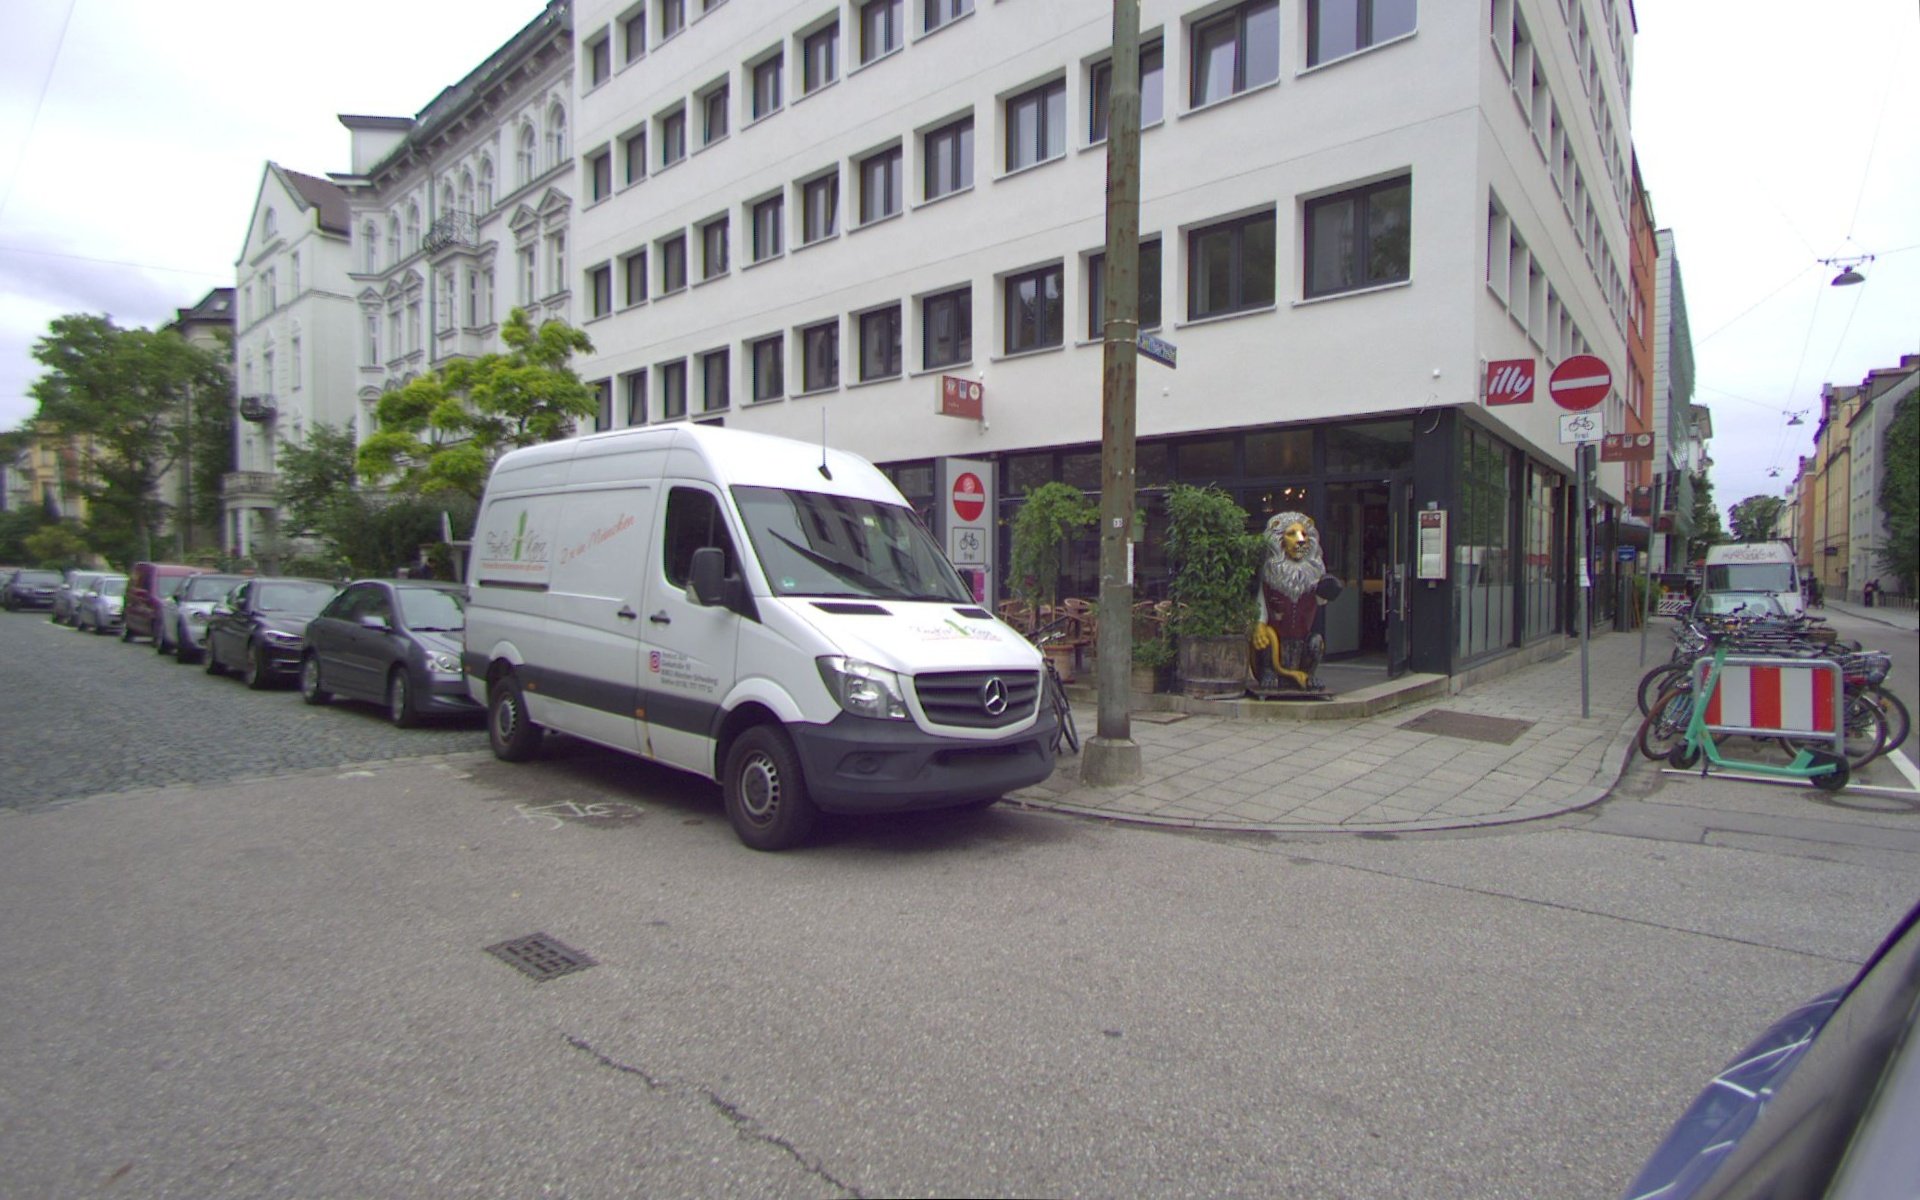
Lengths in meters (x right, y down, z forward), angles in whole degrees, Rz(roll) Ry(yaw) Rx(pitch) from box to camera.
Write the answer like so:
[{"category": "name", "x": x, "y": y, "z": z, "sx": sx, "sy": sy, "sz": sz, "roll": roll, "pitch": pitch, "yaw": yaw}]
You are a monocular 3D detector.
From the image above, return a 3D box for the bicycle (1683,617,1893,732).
[{"category": "bicycle", "x": 8.643, "y": 0.748, "z": 10.641, "sx": 1.669, "sy": 1.093, "sz": 0.332, "roll": 1, "pitch": 0, "yaw": 36}]

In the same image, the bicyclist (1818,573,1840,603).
[{"category": "bicyclist", "x": 52.559, "y": -0.731, "z": 61.219, "sx": 0.925, "sy": 1.742, "sz": 1.084, "roll": 3, "pitch": 2, "yaw": 38}]

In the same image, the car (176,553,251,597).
[{"category": "car", "x": -32.819, "y": -1.084, "z": 44.461, "sx": 3.986, "sy": 1.838, "sz": 1.969, "roll": 1, "pitch": 2, "yaw": 43}]

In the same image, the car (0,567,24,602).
[{"category": "car", "x": -51.615, "y": -0.843, "z": 54.163, "sx": 4.270, "sy": 1.822, "sz": 1.969, "roll": 1, "pitch": 2, "yaw": 44}]

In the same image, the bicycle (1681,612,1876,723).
[{"category": "bicycle", "x": 8.824, "y": 0.697, "z": 10.984, "sx": 1.608, "sy": 1.093, "sz": 0.373, "roll": 1, "pitch": 0, "yaw": 36}]

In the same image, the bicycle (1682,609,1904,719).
[{"category": "bicycle", "x": 9.181, "y": 0.671, "z": 11.251, "sx": 1.868, "sy": 1.093, "sz": 0.403, "roll": 1, "pitch": 0, "yaw": 36}]

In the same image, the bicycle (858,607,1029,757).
[{"category": "bicycle", "x": -0.163, "y": 0.615, "z": 8.180, "sx": 1.499, "sy": 1.085, "sz": 0.365, "roll": 1, "pitch": 1, "yaw": 39}]

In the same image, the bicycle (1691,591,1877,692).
[{"category": "bicycle", "x": 10.998, "y": 0.521, "z": 13.600, "sx": 1.869, "sy": 1.219, "sz": 0.572, "roll": 3, "pitch": 2, "yaw": 37}]

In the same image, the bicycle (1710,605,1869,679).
[{"category": "bicycle", "x": 12.915, "y": 0.645, "z": 15.823, "sx": 1.868, "sy": 1.094, "sz": 0.482, "roll": -1, "pitch": -1, "yaw": 37}]

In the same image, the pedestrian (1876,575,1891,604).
[{"category": "pedestrian", "x": 55.356, "y": -0.638, "z": 60.683, "sx": 0.551, "sy": 1.680, "sz": 0.984, "roll": 1, "pitch": 1, "yaw": 38}]

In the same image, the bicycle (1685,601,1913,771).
[{"category": "bicycle", "x": 7.043, "y": 0.673, "z": 8.563, "sx": 1.455, "sy": 1.301, "sz": 0.439, "roll": 1, "pitch": 1, "yaw": 40}]

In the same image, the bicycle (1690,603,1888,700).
[{"category": "bicycle", "x": 10.310, "y": 0.610, "z": 12.671, "sx": 1.868, "sy": 1.109, "sz": 0.434, "roll": 1, "pitch": 0, "yaw": 36}]

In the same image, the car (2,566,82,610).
[{"category": "car", "x": -37.210, "y": -0.514, "z": 40.973, "sx": 4.465, "sy": 1.705, "sz": 1.970, "roll": 1, "pitch": 2, "yaw": 42}]

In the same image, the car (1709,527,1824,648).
[{"category": "car", "x": 19.117, "y": -0.313, "z": 24.151, "sx": 1.916, "sy": 2.537, "sz": 5.917, "roll": 0, "pitch": 1, "yaw": 37}]

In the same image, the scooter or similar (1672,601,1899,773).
[{"category": "scooter or similar", "x": 6.483, "y": 0.638, "z": 8.006, "sx": 1.351, "sy": 1.225, "sz": 0.411, "roll": 1, "pitch": 1, "yaw": 41}]

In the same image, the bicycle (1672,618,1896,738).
[{"category": "bicycle", "x": 8.350, "y": 0.756, "z": 10.354, "sx": 1.735, "sy": 1.093, "sz": 0.446, "roll": 1, "pitch": 0, "yaw": 36}]

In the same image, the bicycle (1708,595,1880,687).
[{"category": "bicycle", "x": 11.973, "y": 0.559, "z": 14.604, "sx": 1.869, "sy": 1.219, "sz": 0.482, "roll": 1, "pitch": 0, "yaw": 37}]

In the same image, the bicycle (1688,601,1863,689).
[{"category": "bicycle", "x": 11.387, "y": 0.606, "z": 14.214, "sx": 1.869, "sy": 1.172, "sz": 0.557, "roll": -1, "pitch": -1, "yaw": 37}]

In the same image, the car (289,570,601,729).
[{"category": "car", "x": -5.881, "y": 0.439, "z": 11.361, "sx": 3.984, "sy": 1.466, "sz": 1.768, "roll": 1, "pitch": 0, "yaw": 42}]

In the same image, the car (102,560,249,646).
[{"category": "car", "x": -17.682, "y": -0.001, "z": 22.743, "sx": 3.984, "sy": 1.764, "sz": 1.906, "roll": 1, "pitch": 2, "yaw": 41}]

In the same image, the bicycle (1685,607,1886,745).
[{"category": "bicycle", "x": 7.886, "y": 0.692, "z": 9.735, "sx": 1.444, "sy": 1.223, "sz": 0.391, "roll": 0, "pitch": 1, "yaw": 32}]

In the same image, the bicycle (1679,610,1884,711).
[{"category": "bicycle", "x": 9.810, "y": 0.692, "z": 12.186, "sx": 1.868, "sy": 1.064, "sz": 0.557, "roll": 1, "pitch": 3, "yaw": 36}]

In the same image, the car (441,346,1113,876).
[{"category": "car", "x": -1.842, "y": 0.001, "z": 7.798, "sx": 5.894, "sy": 2.624, "sz": 2.027, "roll": 1, "pitch": 0, "yaw": 44}]

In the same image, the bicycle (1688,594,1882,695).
[{"category": "bicycle", "x": 10.610, "y": 0.537, "z": 13.117, "sx": 1.888, "sy": 1.184, "sz": 0.558, "roll": 2, "pitch": 2, "yaw": 37}]

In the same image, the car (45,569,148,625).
[{"category": "car", "x": -26.426, "y": -0.149, "z": 30.934, "sx": 4.151, "sy": 1.611, "sz": 1.905, "roll": 1, "pitch": 2, "yaw": 42}]

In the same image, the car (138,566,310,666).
[{"category": "car", "x": -13.559, "y": 0.206, "z": 18.561, "sx": 3.986, "sy": 1.627, "sz": 1.836, "roll": 1, "pitch": 2, "yaw": 43}]

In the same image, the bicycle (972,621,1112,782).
[{"category": "bicycle", "x": 0.627, "y": 0.765, "z": 8.023, "sx": 0.334, "sy": 1.141, "sz": 1.179, "roll": -1, "pitch": 1, "yaw": -44}]

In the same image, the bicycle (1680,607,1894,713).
[{"category": "bicycle", "x": 9.419, "y": 0.651, "z": 11.617, "sx": 1.868, "sy": 1.093, "sz": 0.397, "roll": 1, "pitch": 0, "yaw": 36}]

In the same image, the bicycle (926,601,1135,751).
[{"category": "bicycle", "x": 0.572, "y": 0.600, "z": 8.861, "sx": 1.901, "sy": 1.141, "sz": 0.583, "roll": 1, "pitch": 2, "yaw": 44}]

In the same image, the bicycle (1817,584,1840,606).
[{"category": "bicycle", "x": 52.775, "y": -0.310, "z": 61.519, "sx": 0.930, "sy": 1.272, "sz": 2.381, "roll": 3, "pitch": 3, "yaw": 38}]

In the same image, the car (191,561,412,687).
[{"category": "car", "x": -9.734, "y": 0.273, "z": 14.828, "sx": 4.239, "sy": 1.588, "sz": 1.783, "roll": 1, "pitch": 0, "yaw": 44}]

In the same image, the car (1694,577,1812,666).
[{"category": "car", "x": 14.677, "y": 0.321, "z": 18.820, "sx": 1.577, "sy": 1.482, "sz": 3.504, "roll": 1, "pitch": 2, "yaw": 37}]

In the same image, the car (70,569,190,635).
[{"category": "car", "x": -21.911, "y": -0.006, "z": 26.665, "sx": 3.984, "sy": 1.611, "sz": 1.838, "roll": 1, "pitch": 2, "yaw": 41}]

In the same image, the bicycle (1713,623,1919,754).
[{"category": "bicycle", "x": 7.797, "y": 0.772, "z": 9.233, "sx": 1.444, "sy": 1.083, "sz": 0.458, "roll": 0, "pitch": 1, "yaw": 32}]

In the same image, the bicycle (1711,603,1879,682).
[{"category": "bicycle", "x": 12.308, "y": 0.604, "z": 14.992, "sx": 1.869, "sy": 1.122, "sz": 0.482, "roll": -1, "pitch": -1, "yaw": 37}]
